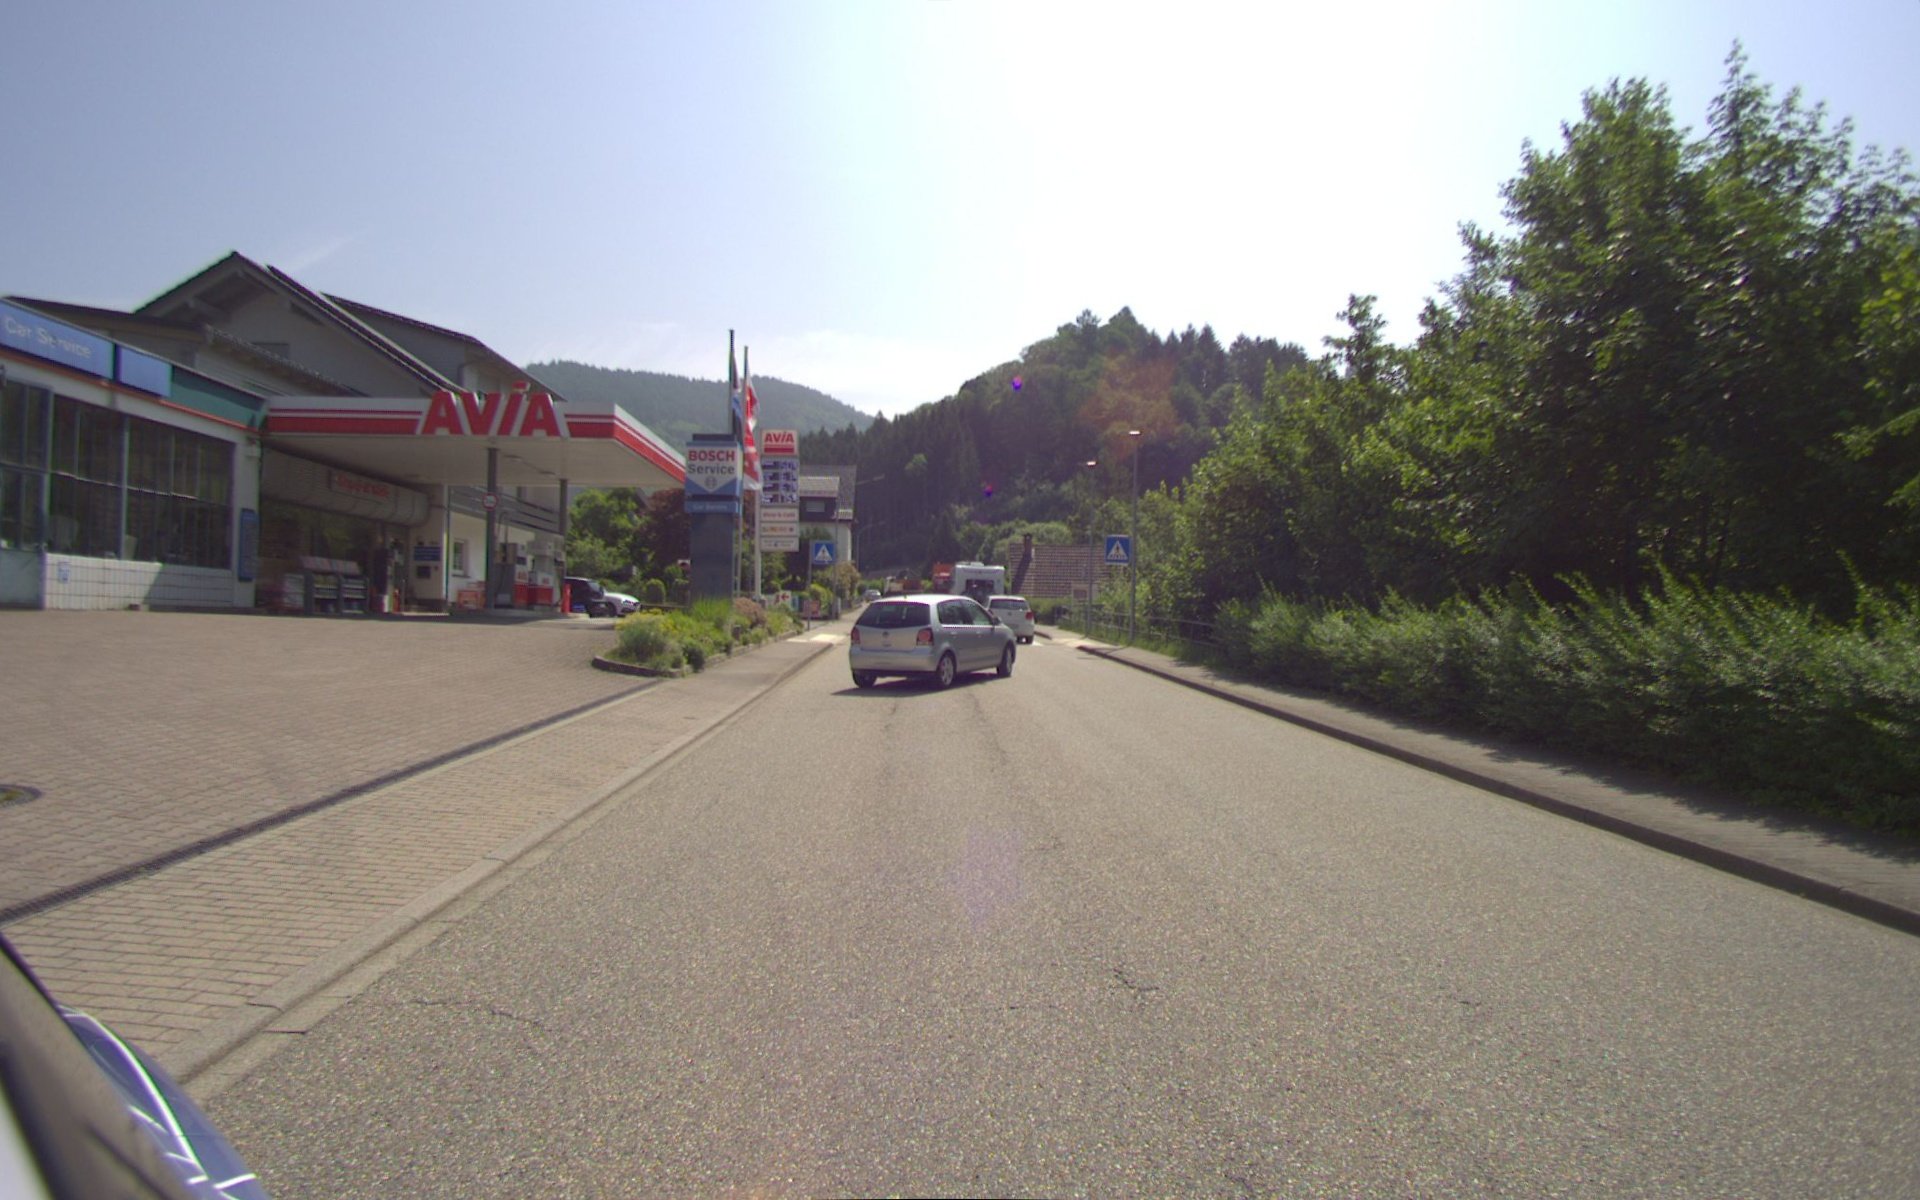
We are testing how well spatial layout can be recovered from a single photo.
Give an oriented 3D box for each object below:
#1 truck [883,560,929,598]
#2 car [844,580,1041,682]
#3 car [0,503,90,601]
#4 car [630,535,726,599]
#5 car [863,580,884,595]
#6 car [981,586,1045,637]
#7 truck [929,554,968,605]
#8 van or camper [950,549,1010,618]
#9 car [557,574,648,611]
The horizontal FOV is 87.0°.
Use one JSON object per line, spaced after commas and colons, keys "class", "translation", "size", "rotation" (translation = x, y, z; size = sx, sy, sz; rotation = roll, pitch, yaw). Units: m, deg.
{"class": "truck", "translation": [-5.560, -2.194, 102.922], "size": [2.607, 3.608, 7.798], "rotation": [3, 1, -18]}
{"class": "car", "translation": [-0.180, 0.424, 16.949], "size": [1.590, 1.493, 3.718], "rotation": [0, 1, 31]}
{"class": "car", "translation": [-17.652, -0.927, 18.247], "size": [1.578, 1.700, 3.943], "rotation": [4, 1, -19]}
{"class": "car", "translation": [-8.074, -0.936, 29.338], "size": [1.673, 1.589, 3.912], "rotation": [5, 1, -1]}
{"class": "car", "translation": [-9.990, -1.458, 116.390], "size": [1.759, 1.585, 3.609], "rotation": [4, 1, -14]}
{"class": "car", "translation": [1.625, 0.309, 32.396], "size": [1.586, 1.416, 3.830], "rotation": [3, 1, -3]}
{"class": "truck", "translation": [-0.945, -1.557, 77.956], "size": [2.614, 3.608, 8.197], "rotation": [3, 1, -2]}
{"class": "van or camper", "translation": [0.841, -0.768, 48.987], "size": [2.331, 2.975, 8.055], "rotation": [2, 0, -2]}
{"class": "car", "translation": [-13.768, -0.299, 39.069], "size": [3.038, 1.153, 1.336], "rotation": [5, 1, -3]}
